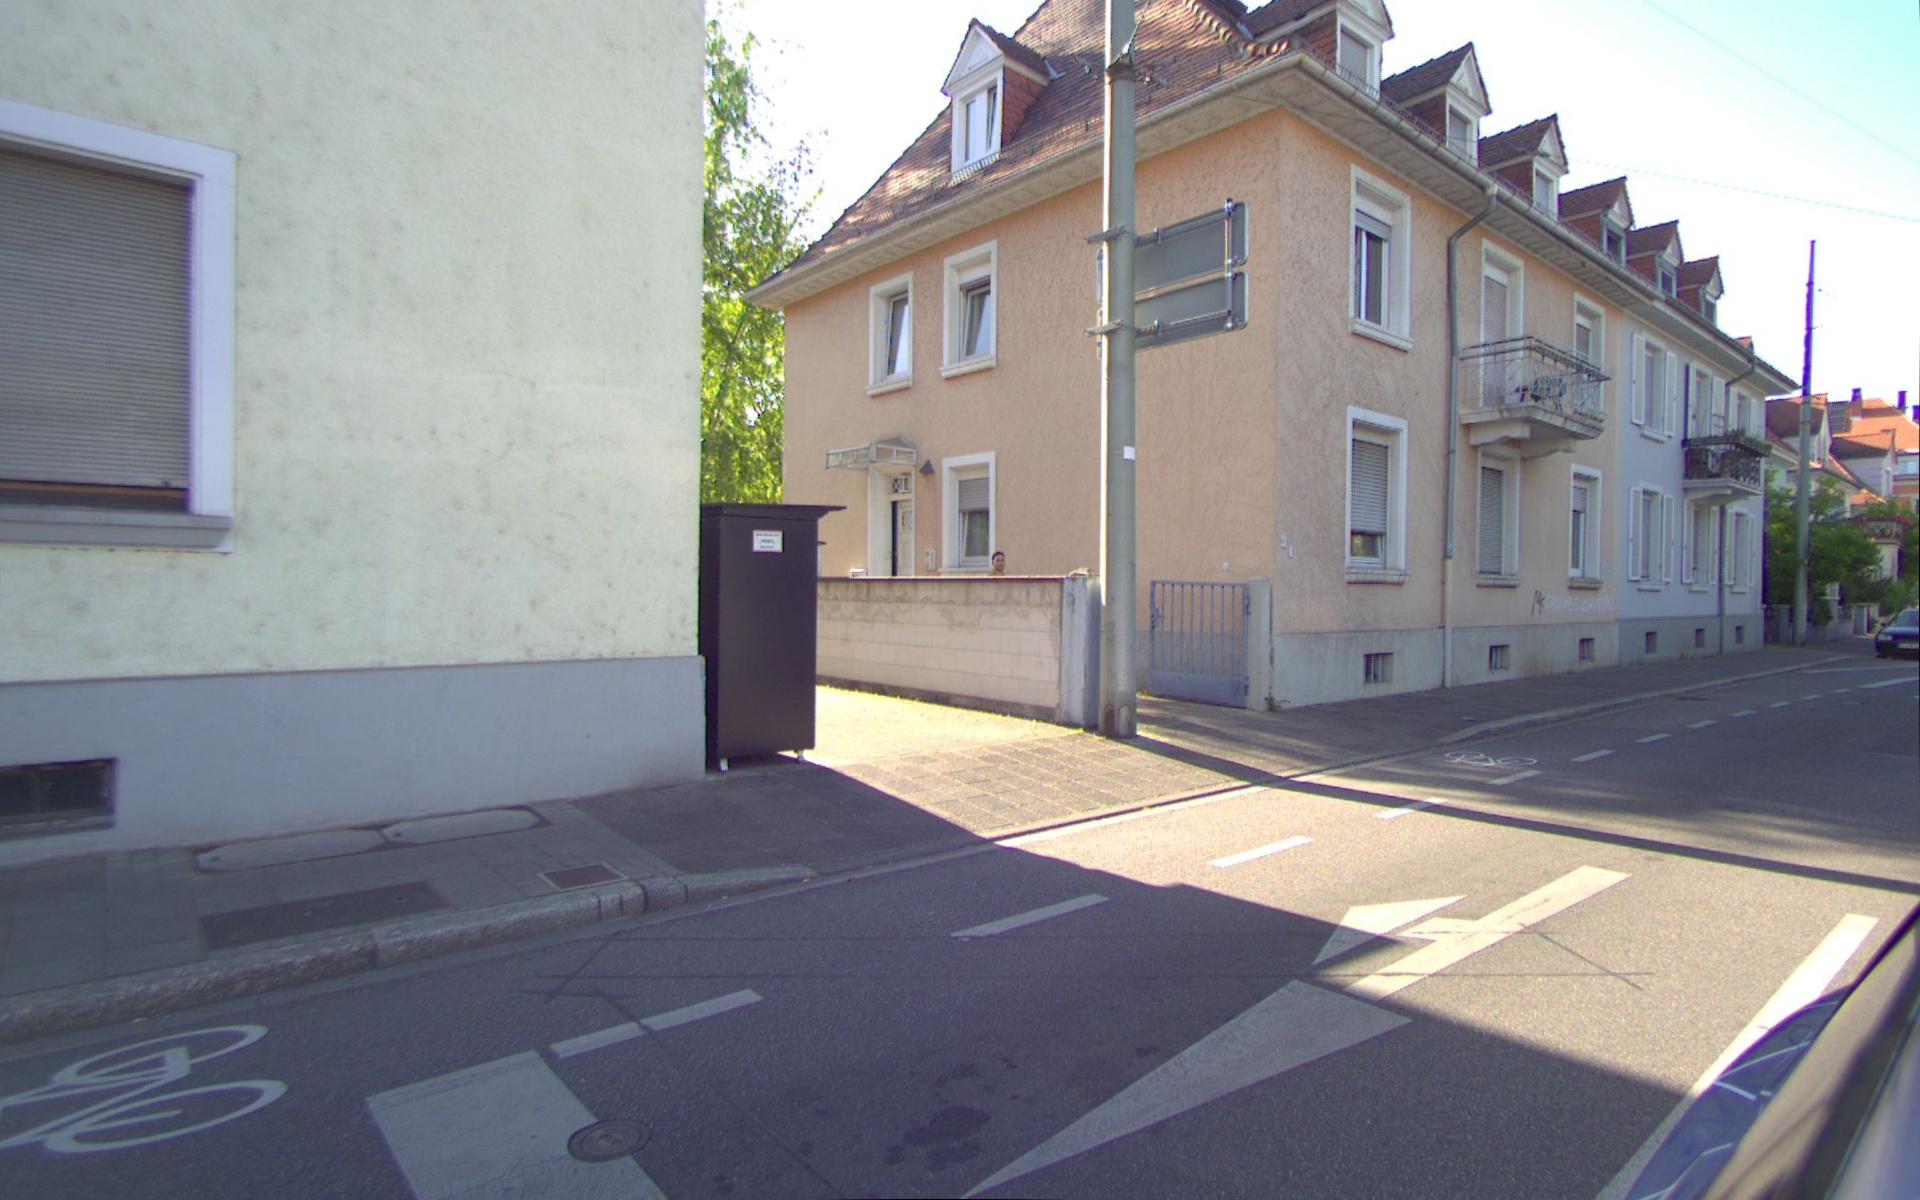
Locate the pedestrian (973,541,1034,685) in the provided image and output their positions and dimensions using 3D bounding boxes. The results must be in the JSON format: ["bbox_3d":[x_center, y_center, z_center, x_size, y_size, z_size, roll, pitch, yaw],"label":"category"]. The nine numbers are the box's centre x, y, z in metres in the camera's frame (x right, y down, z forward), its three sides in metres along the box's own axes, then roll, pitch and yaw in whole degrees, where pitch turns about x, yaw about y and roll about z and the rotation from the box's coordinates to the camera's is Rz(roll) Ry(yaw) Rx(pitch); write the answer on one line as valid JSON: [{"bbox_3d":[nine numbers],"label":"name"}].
[{"bbox_3d":[0.551,0.156,12.876,0.592,1.783,0.486,0,0,-39],"label":"pedestrian"}]

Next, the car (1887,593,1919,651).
[{"bbox_3d":[26.835,0.578,27.391,3.925,1.504,1.883,0,1,-37],"label":"car"}]
